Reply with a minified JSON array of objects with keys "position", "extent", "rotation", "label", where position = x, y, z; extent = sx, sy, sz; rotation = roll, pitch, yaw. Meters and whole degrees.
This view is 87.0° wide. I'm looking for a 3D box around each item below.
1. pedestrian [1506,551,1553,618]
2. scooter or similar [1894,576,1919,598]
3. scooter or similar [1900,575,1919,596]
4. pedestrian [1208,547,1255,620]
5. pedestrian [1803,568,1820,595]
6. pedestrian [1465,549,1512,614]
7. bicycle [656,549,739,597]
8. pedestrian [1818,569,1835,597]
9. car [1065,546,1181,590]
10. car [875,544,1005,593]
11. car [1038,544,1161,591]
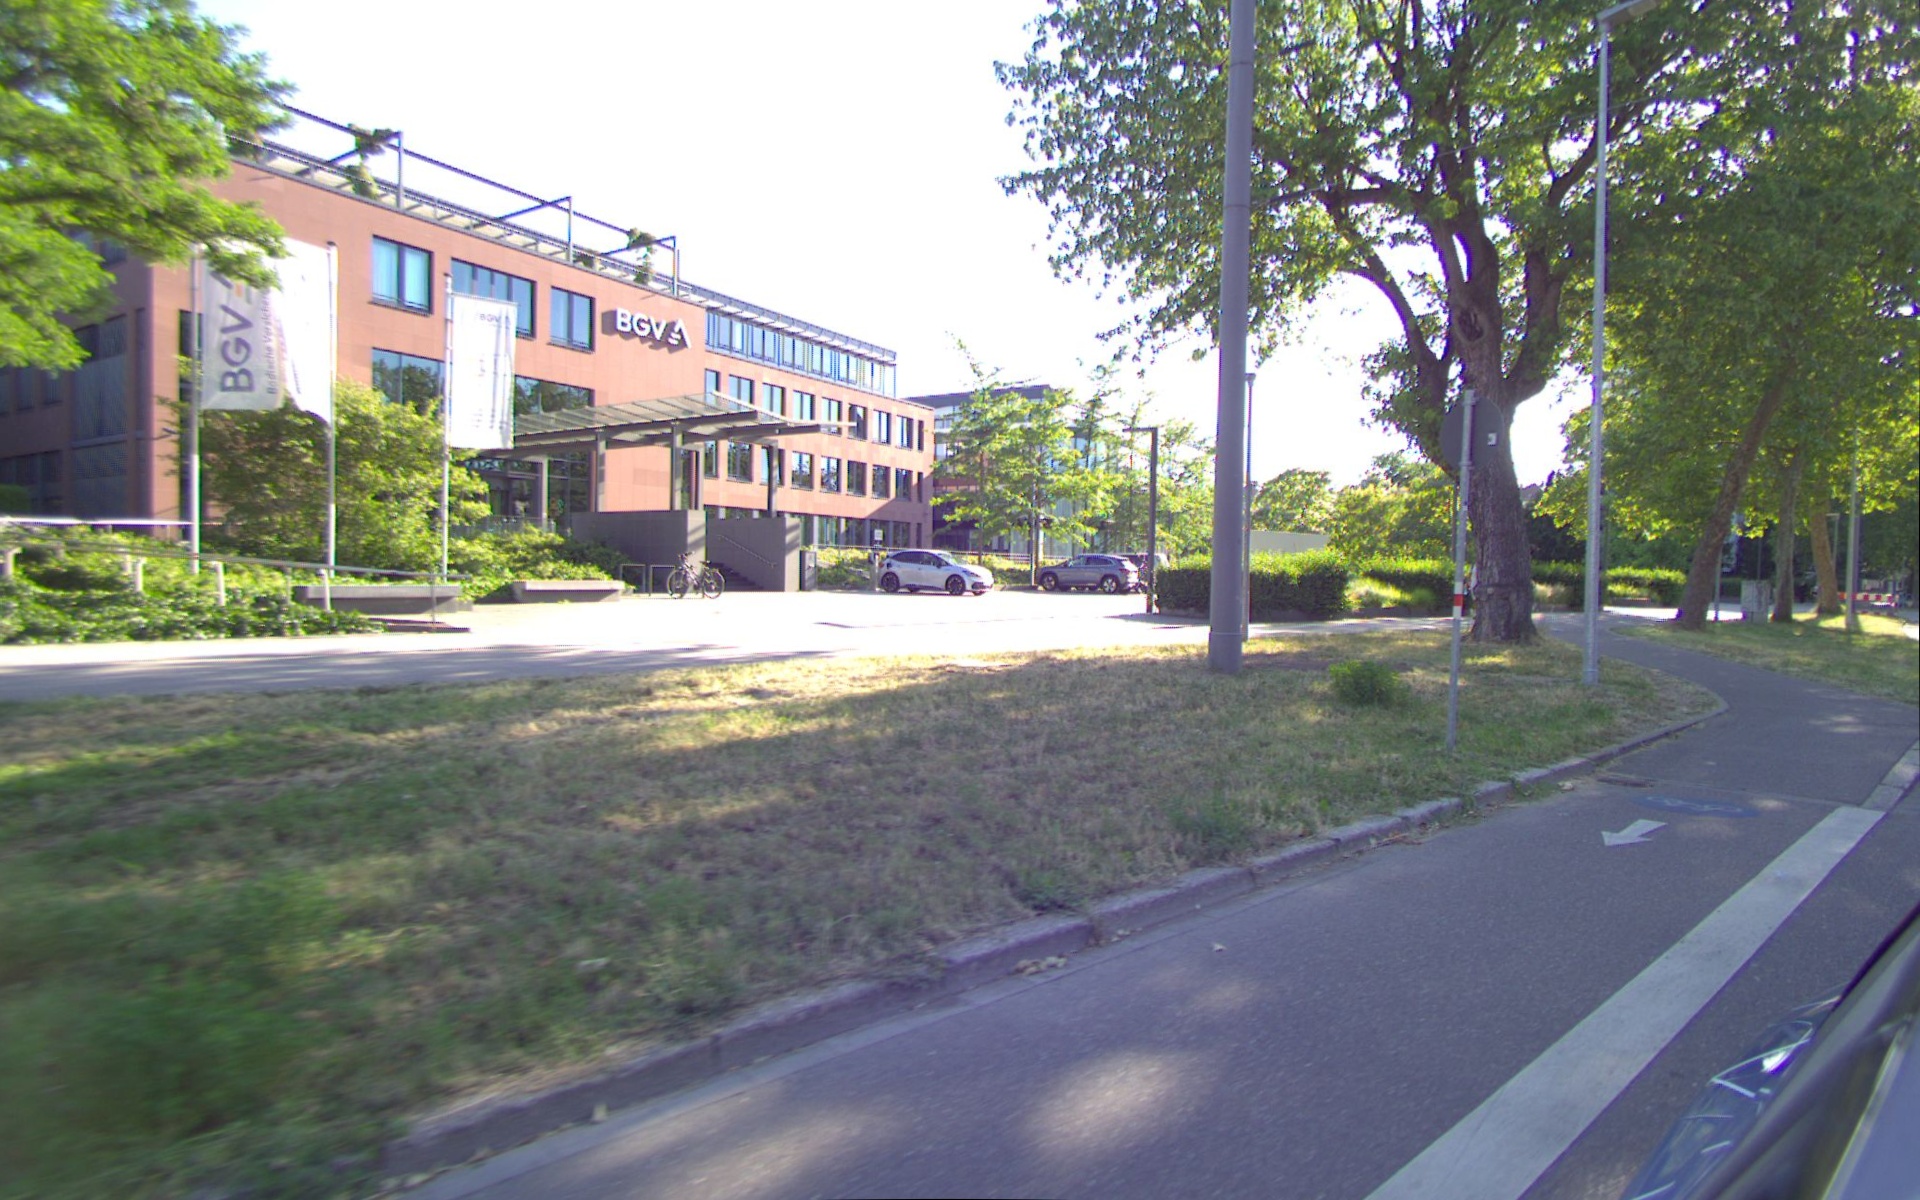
[{"position":[15.915,-0.447,28.285],"extent":[1.067,1.815,0.752],"rotation":[-1,3,-41],"label":"pedestrian"},{"position":[58.158,-0.804,62.096],"extent":[0.826,1.259,1.055],"rotation":[-1,3,-38],"label":"scooter or similar"},{"position":[58.911,-0.882,62.561],"extent":[0.826,1.259,1.055],"rotation":[-1,3,-38],"label":"scooter or similar"},{"position":[5.981,-0.376,22.302],"extent":[0.769,1.558,0.651],"rotation":[-1,3,-41],"label":"pedestrian"},{"position":[53.252,-1.180,63.309],"extent":[0.769,1.676,0.651],"rotation":[-1,3,-41],"label":"pedestrian"},{"position":[15.190,-0.551,29.093],"extent":[1.090,1.815,0.807],"rotation":[-1,3,-41],"label":"pedestrian"},{"position":[-6.692,-0.696,25.881],"extent":[1.896,1.170,0.822],"rotation":[-1,3,-42],"label":"bicycle"},{"position":[53.634,-1.057,62.668],"extent":[0.727,1.676,0.629],"rotation":[-1,3,-41],"label":"pedestrian"},{"position":[7.144,-1.432,44.529],"extent":[4.646,1.734,1.830],"rotation":[3,2,29],"label":"car"},{"position":[-0.716,-1.106,35.682],"extent":[4.138,1.525,1.980],"rotation":[3,2,29],"label":"car"},{"position":[5.699,-1.352,41.497],"extent":[4.646,1.734,1.830],"rotation":[3,2,29],"label":"car"}]
